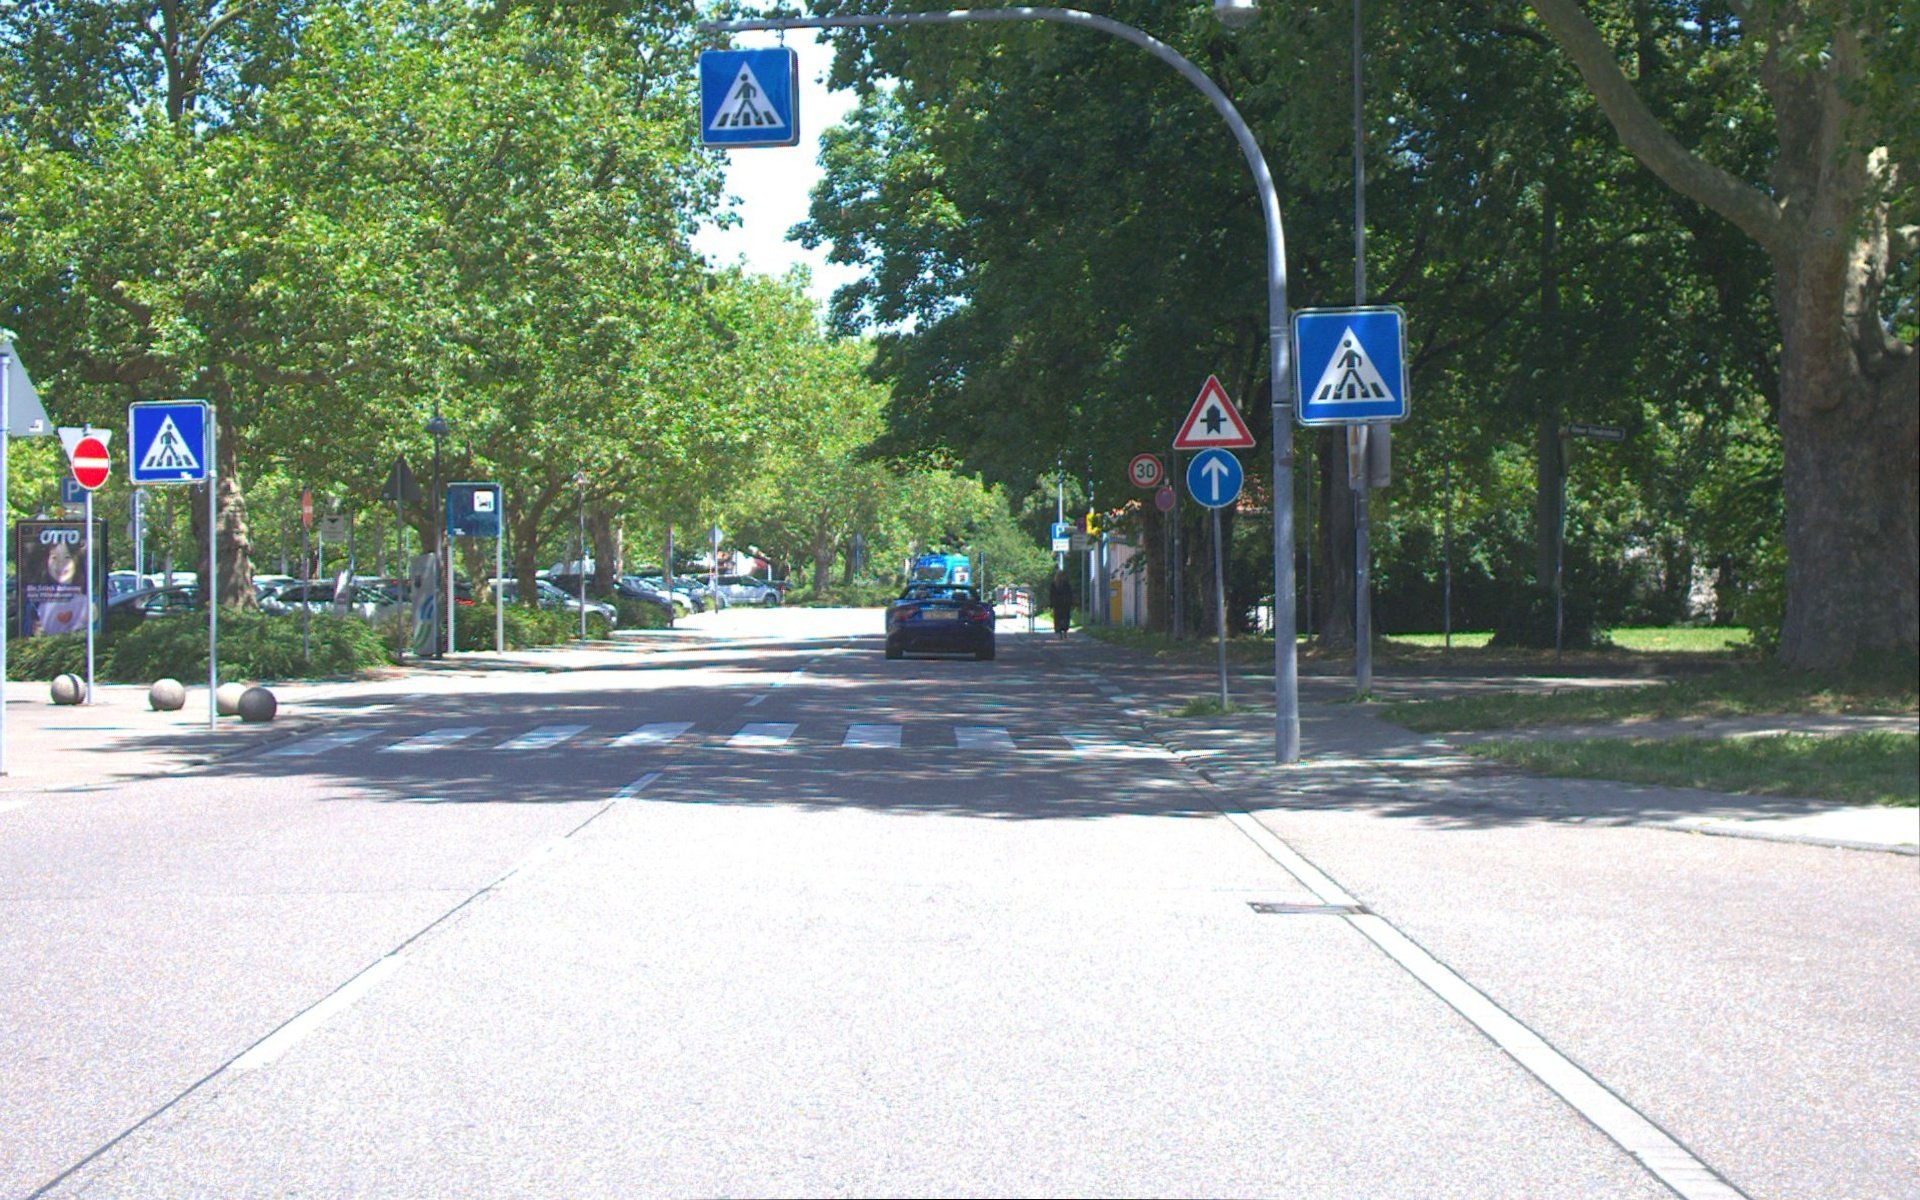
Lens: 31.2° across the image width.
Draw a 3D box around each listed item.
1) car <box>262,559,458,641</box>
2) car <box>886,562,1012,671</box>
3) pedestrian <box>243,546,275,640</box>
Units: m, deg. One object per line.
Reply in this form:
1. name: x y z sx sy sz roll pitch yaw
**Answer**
1. car: -13.236 0.000 75.783 3.986 1.775 2.000 0 -1 -18
2. car: -0.210 0.270 60.270 2.125 1.842 4.048 0 0 -1
3. pedestrian: -15.072 -0.157 73.860 0.624 2.007 0.570 0 -1 -16
